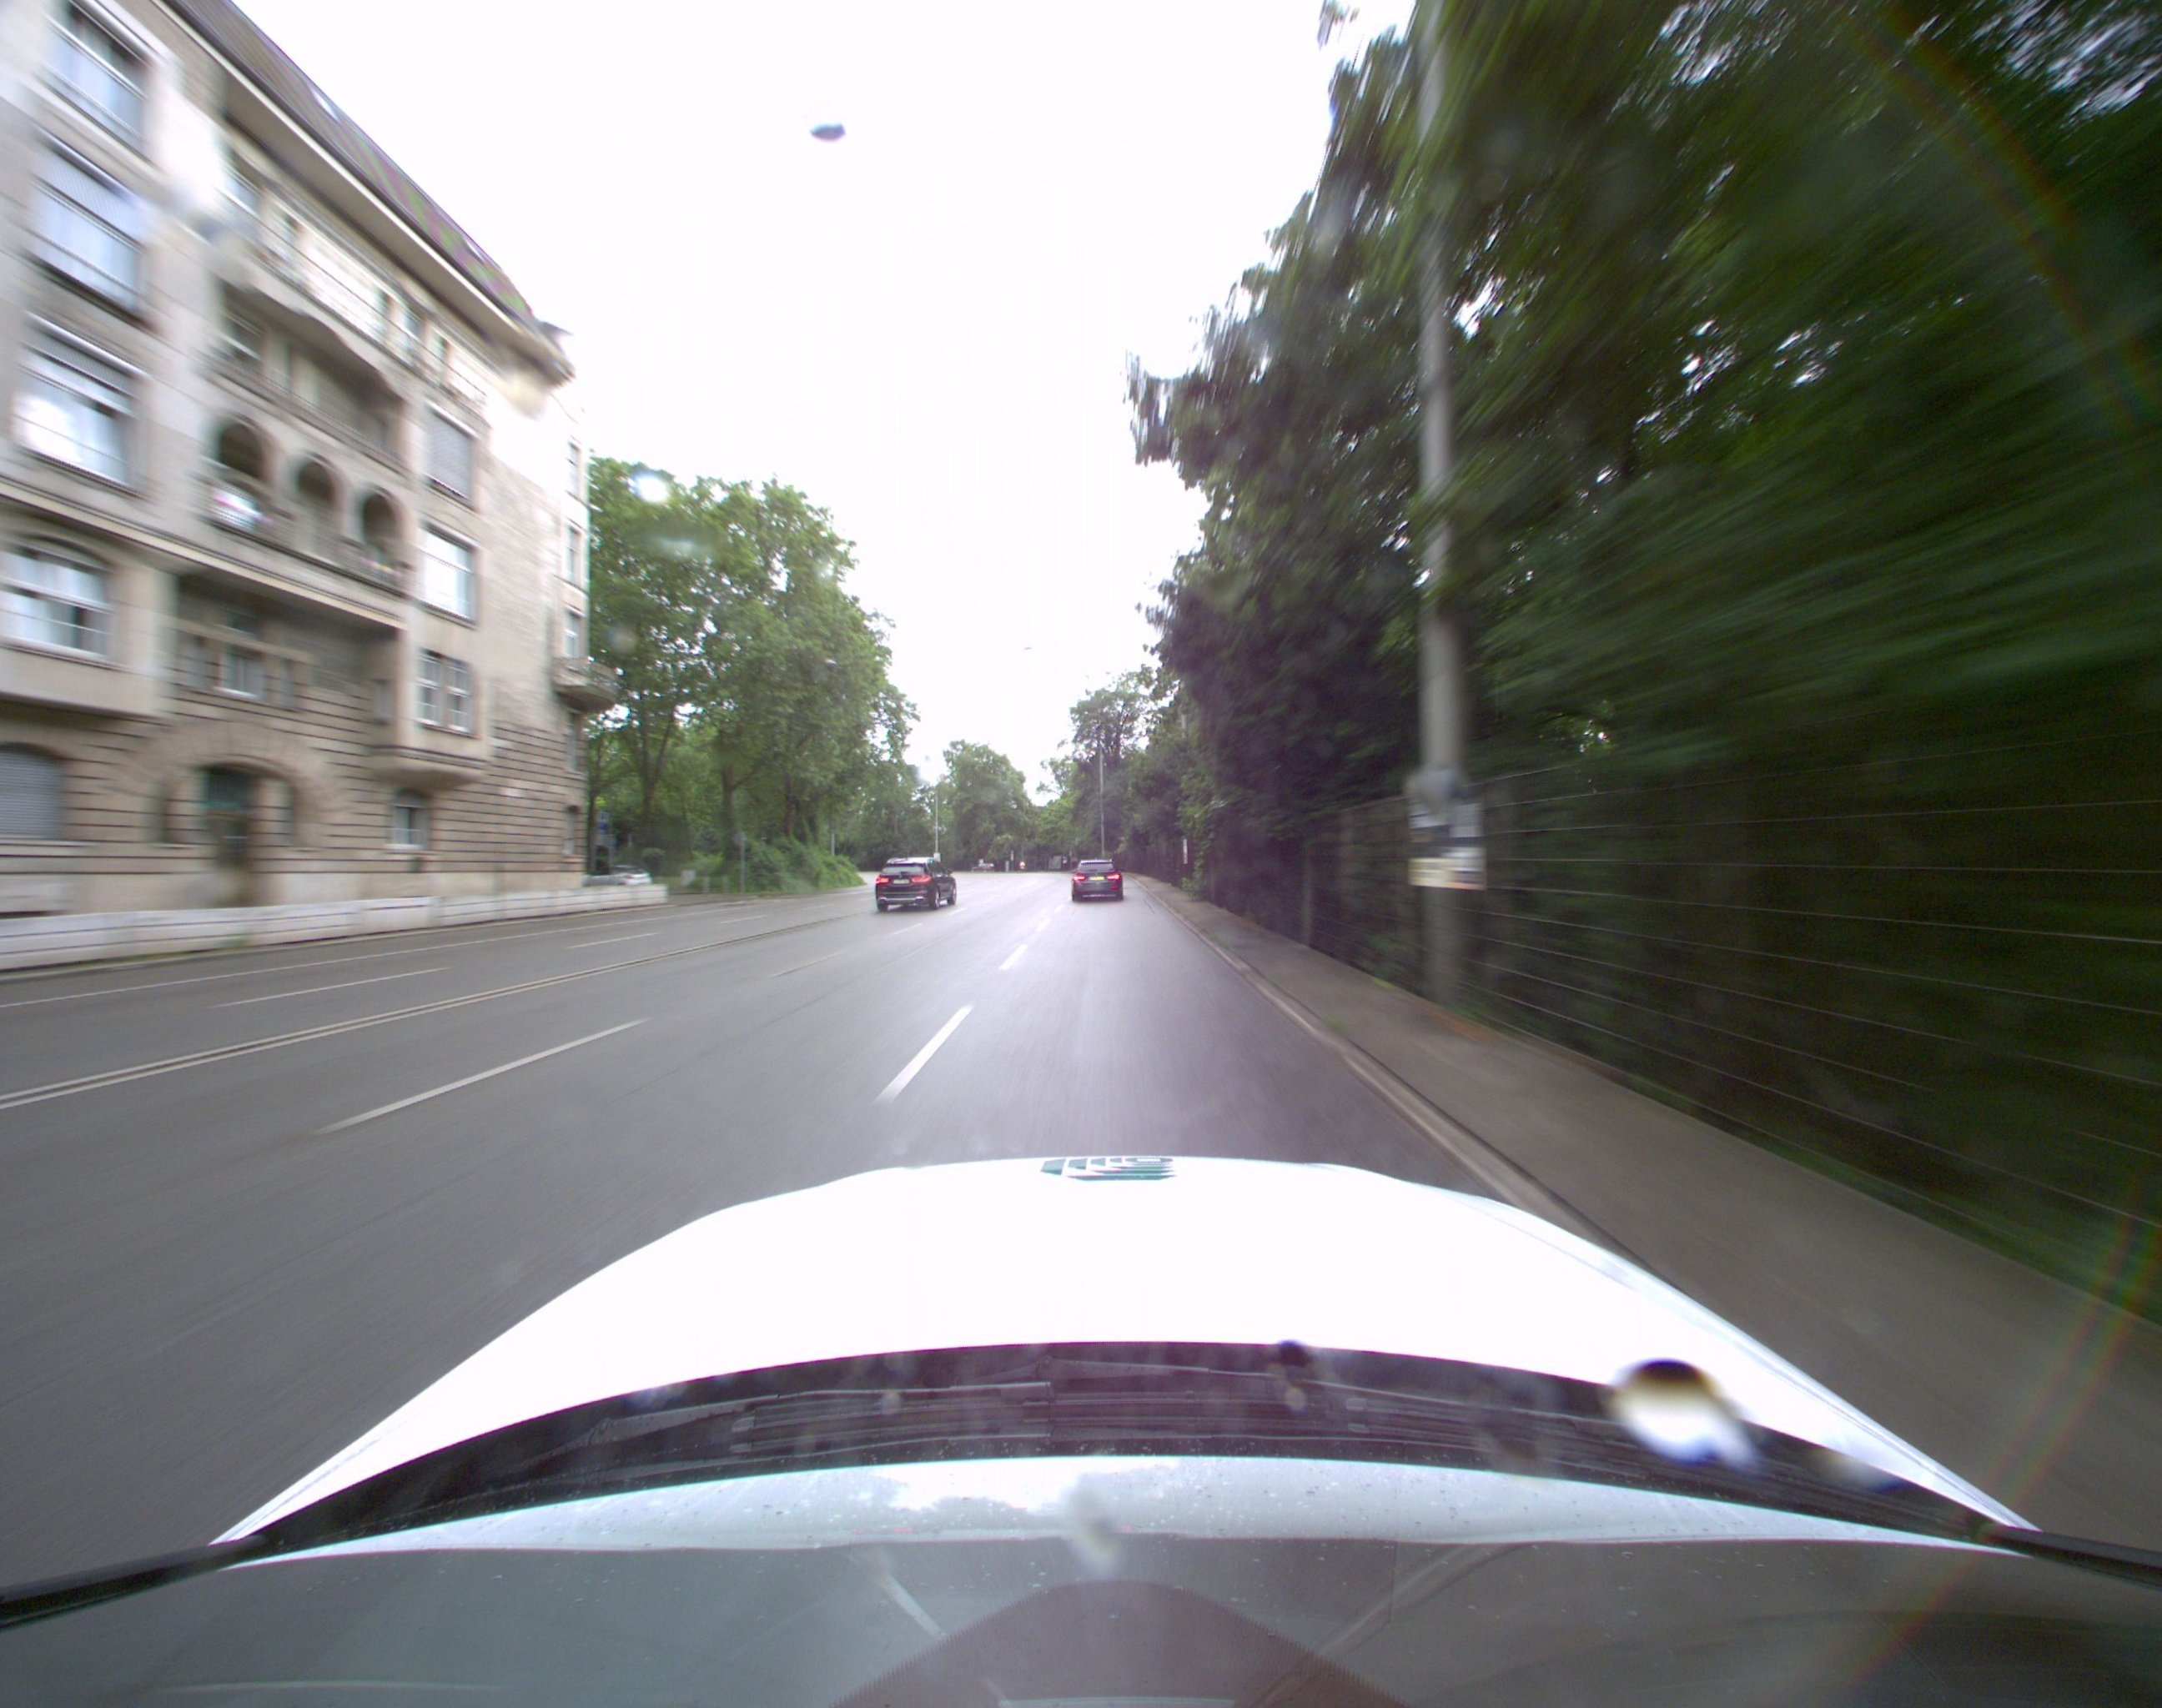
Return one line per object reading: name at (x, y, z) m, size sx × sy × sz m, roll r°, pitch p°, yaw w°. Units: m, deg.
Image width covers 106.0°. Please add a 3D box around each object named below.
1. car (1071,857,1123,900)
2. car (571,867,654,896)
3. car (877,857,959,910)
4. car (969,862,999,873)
car at (0.572, 0.830, 29.735) m, size 1.751 × 1.432 × 4.412 m, roll -1°, pitch 0°, yaw 1°
car at (-25.061, 1.469, 43.600) m, size 3.472 × 1.376 × 1.784 m, roll -2°, pitch 1°, yaw 11°
car at (-5.248, 0.891, 26.712) m, size 1.752 × 1.586 × 4.412 m, roll 0°, pitch 0°, yaw 0°
car at (-13.183, 1.825, 110.464) m, size 4.316 × 1.427 × 1.702 m, roll -1°, pitch -4°, yaw 44°
